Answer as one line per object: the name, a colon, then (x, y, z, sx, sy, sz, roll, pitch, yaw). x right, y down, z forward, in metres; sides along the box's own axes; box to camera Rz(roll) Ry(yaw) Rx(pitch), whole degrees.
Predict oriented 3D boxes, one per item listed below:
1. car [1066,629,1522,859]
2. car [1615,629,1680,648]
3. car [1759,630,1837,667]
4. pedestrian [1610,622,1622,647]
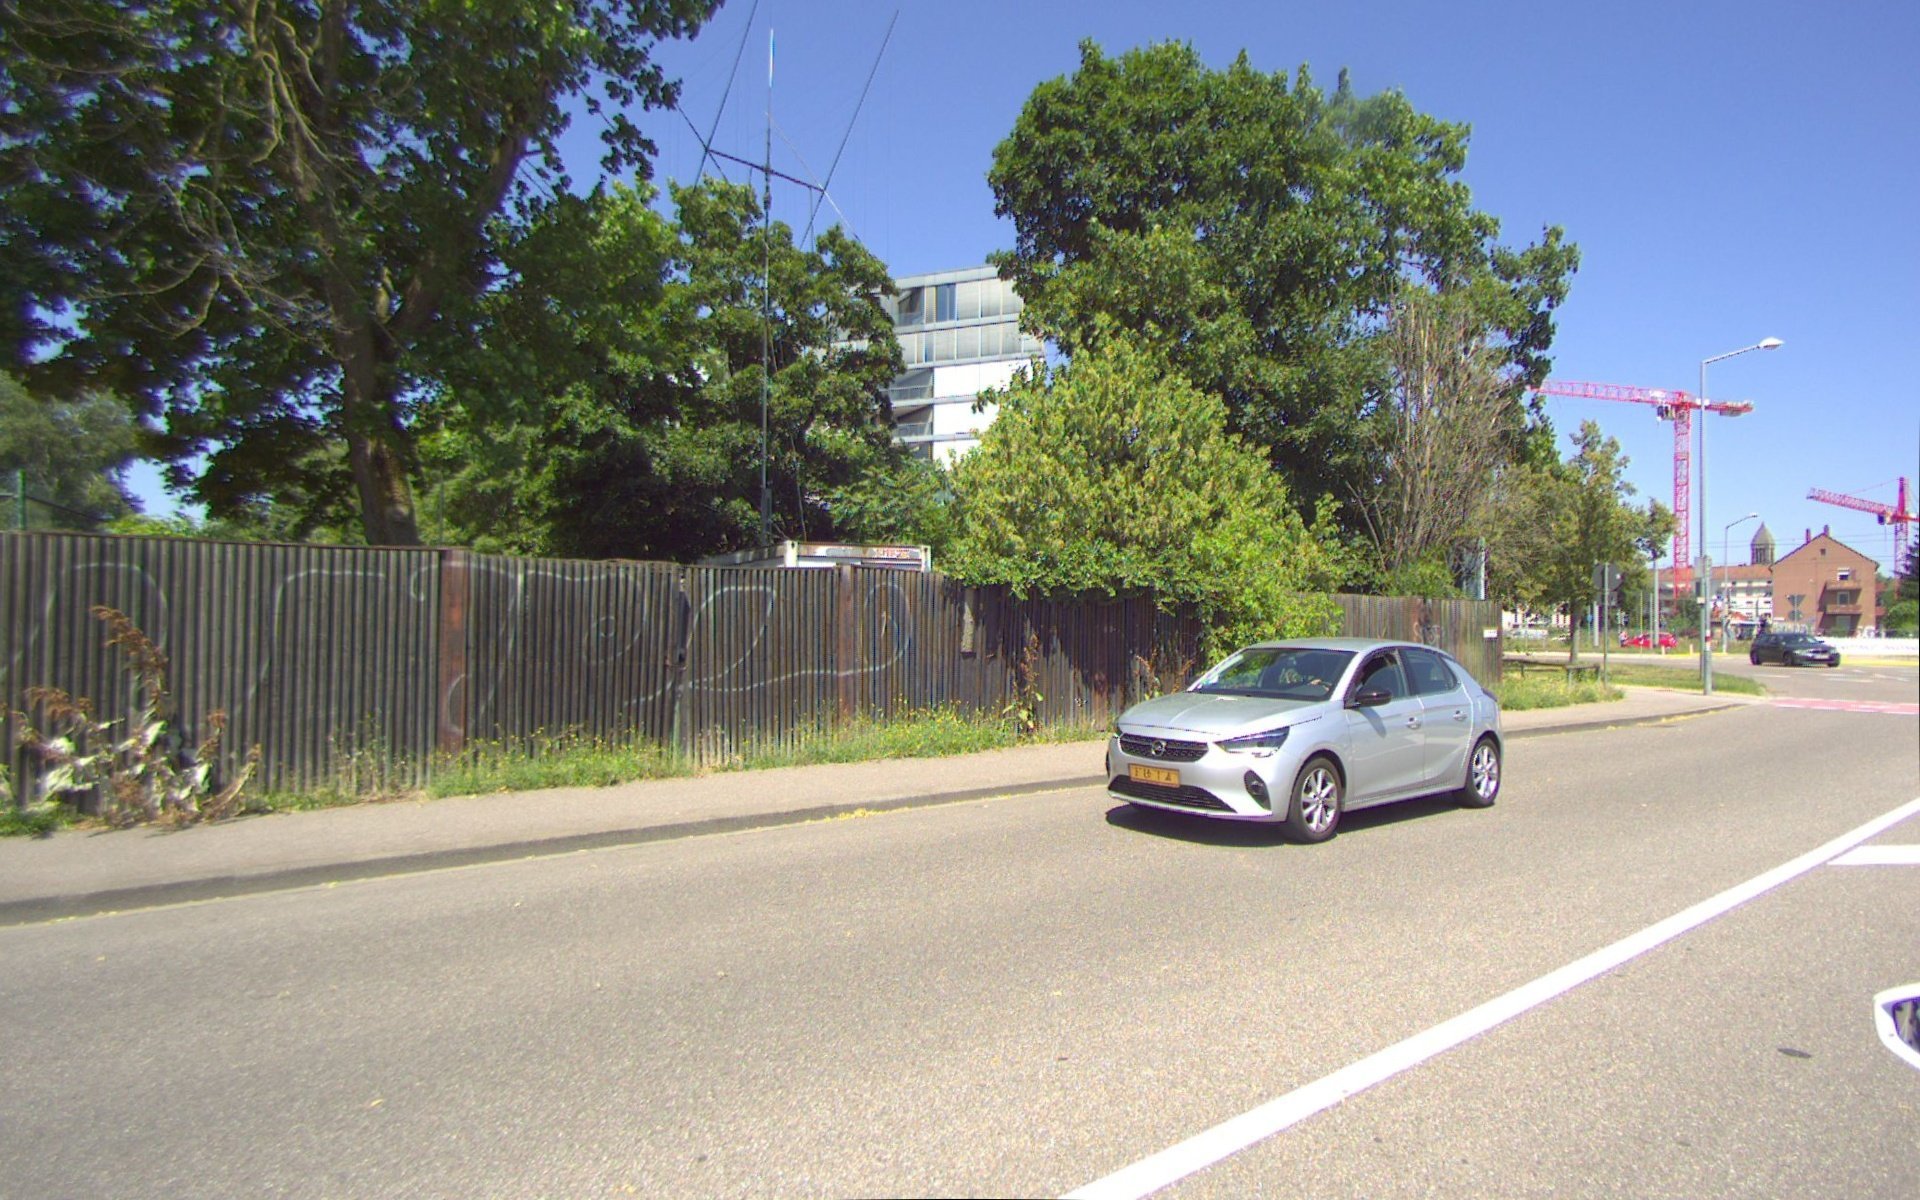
car: (2.864, 0.996, 8.334, 3.806, 1.483, 1.702, 1, -3, -36)
car: (53.544, 2.971, 78.299, 4.007, 1.421, 1.750, -1, -1, 29)
car: (35.250, 1.995, 42.368, 1.721, 1.421, 4.074, -1, -1, 28)
pedestrian: (54.108, 2.842, 82.807, 0.588, 2.040, 0.598, 2, 0, -30)
